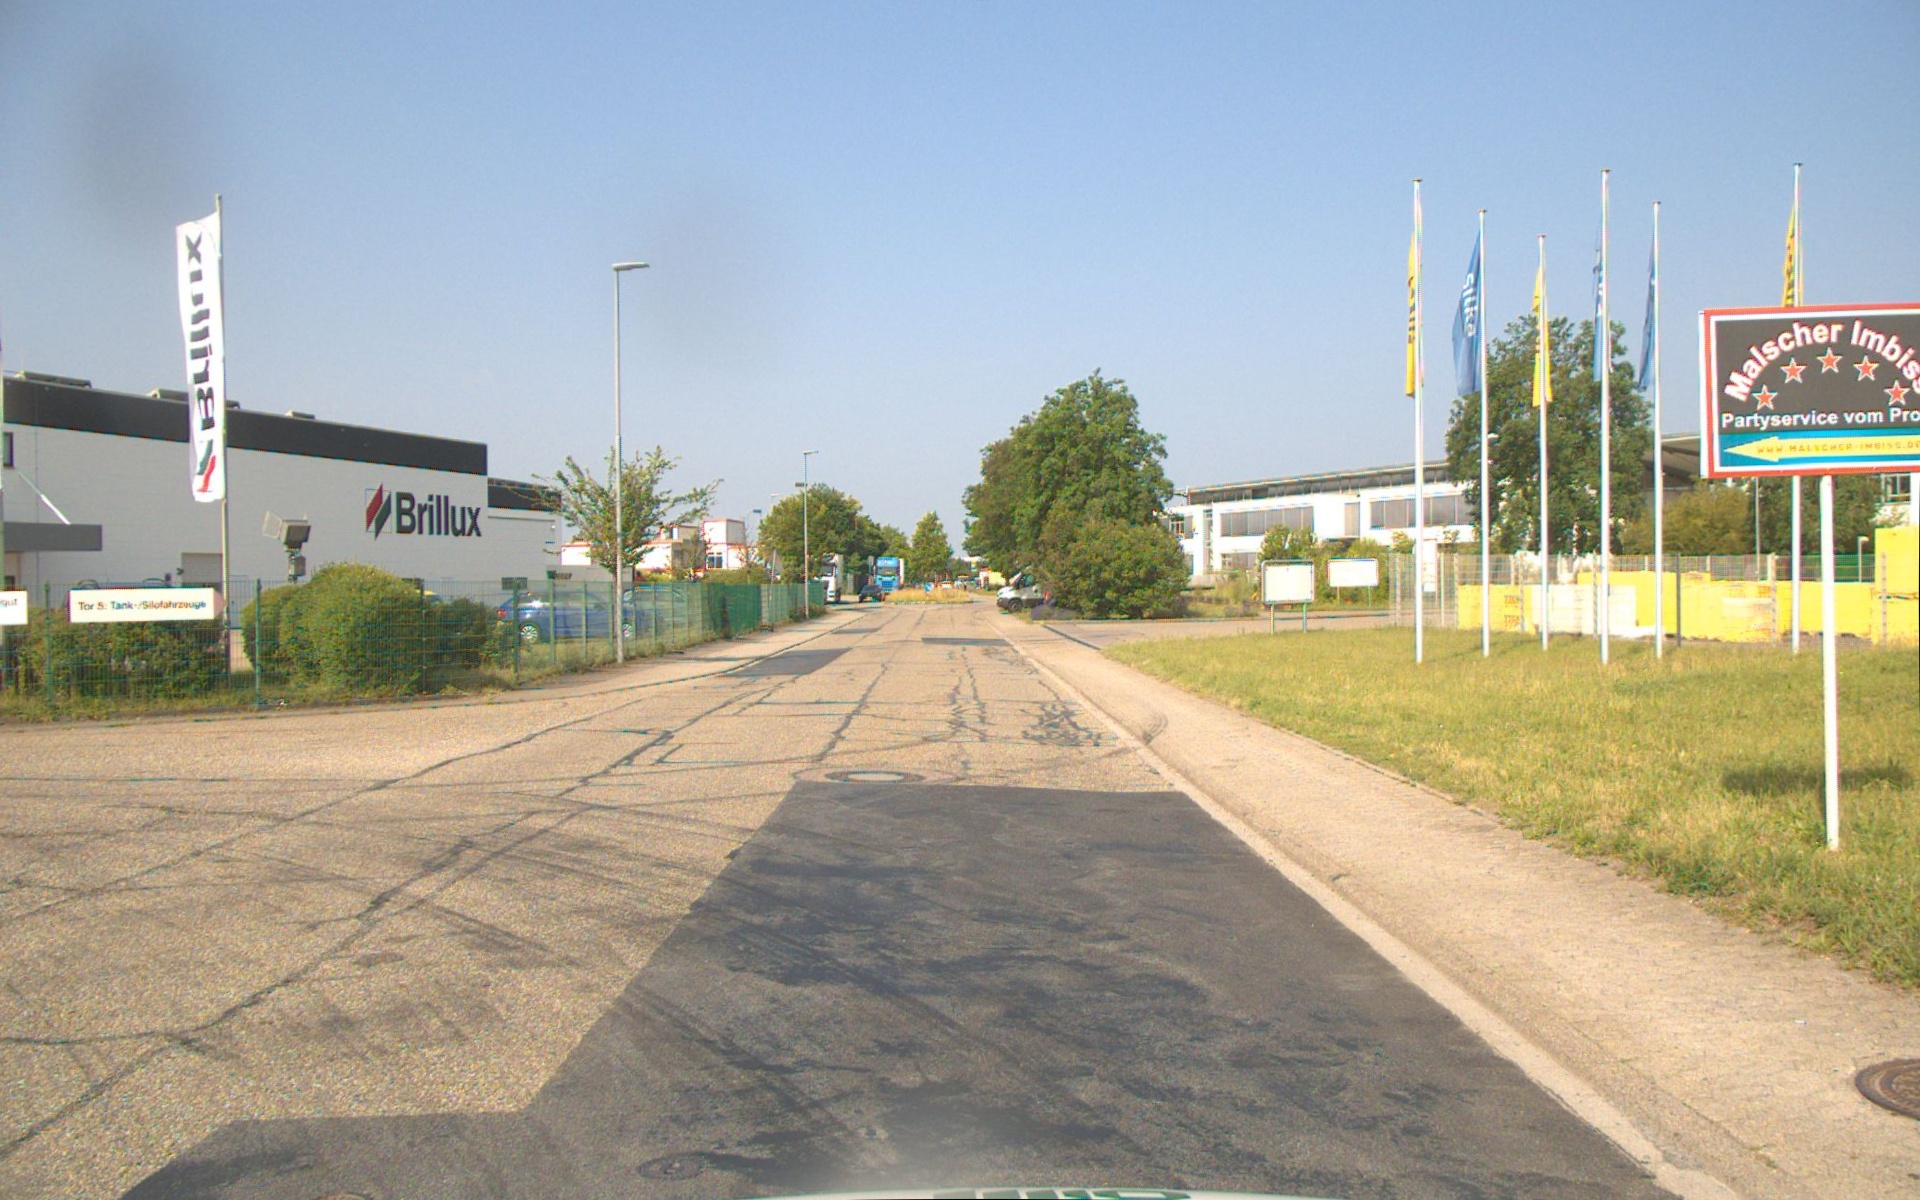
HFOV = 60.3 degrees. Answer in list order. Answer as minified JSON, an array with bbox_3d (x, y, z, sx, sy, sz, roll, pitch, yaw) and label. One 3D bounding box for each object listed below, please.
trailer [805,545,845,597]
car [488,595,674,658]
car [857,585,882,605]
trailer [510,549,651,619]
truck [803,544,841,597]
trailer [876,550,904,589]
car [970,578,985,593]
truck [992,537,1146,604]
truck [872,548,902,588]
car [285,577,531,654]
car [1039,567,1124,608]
[{"bbox_3d":[-10.840,-2.280,133.360,2.645,3.990,7.573,1,0,-1],"label":"trailer"},{"bbox_3d":[-10.368,0.709,45.520,4.591,1.469,2.078,-2,1,-2],"label":"car"},{"bbox_3d":[-7.355,-0.437,134.852,1.954,1.474,4.418,-3,1,-2],"label":"car"},{"bbox_3d":[-23.844,-0.898,105.043,2.429,4.112,13.898,1,0,15],"label":"trailer"},{"bbox_3d":[-10.743,-2.288,128.997,2.654,3.990,4.295,1,0,-1],"label":"truck"},{"bbox_3d":[-7.713,-3.298,183.277,2.773,3.910,12.033,1,0,-1],"label":"trailer"},{"bbox_3d":[2.237,-1.864,214.241,1.756,1.780,3.999,1,0,-1],"label":"car"},{"bbox_3d":[5.836,-1.577,89.490,8.043,3.429,2.740,-1,0,-2],"label":"truck"},{"bbox_3d":[-7.567,-3.327,173.271,2.768,3.892,9.670,1,0,-1],"label":"truck"},{"bbox_3d":[-10.592,0.282,31.942,4.078,1.392,1.868,-1,0,0],"label":"car"},{"bbox_3d":[5.749,-0.598,78.853,3.905,1.870,2.000,-1,1,0],"label":"car"}]
